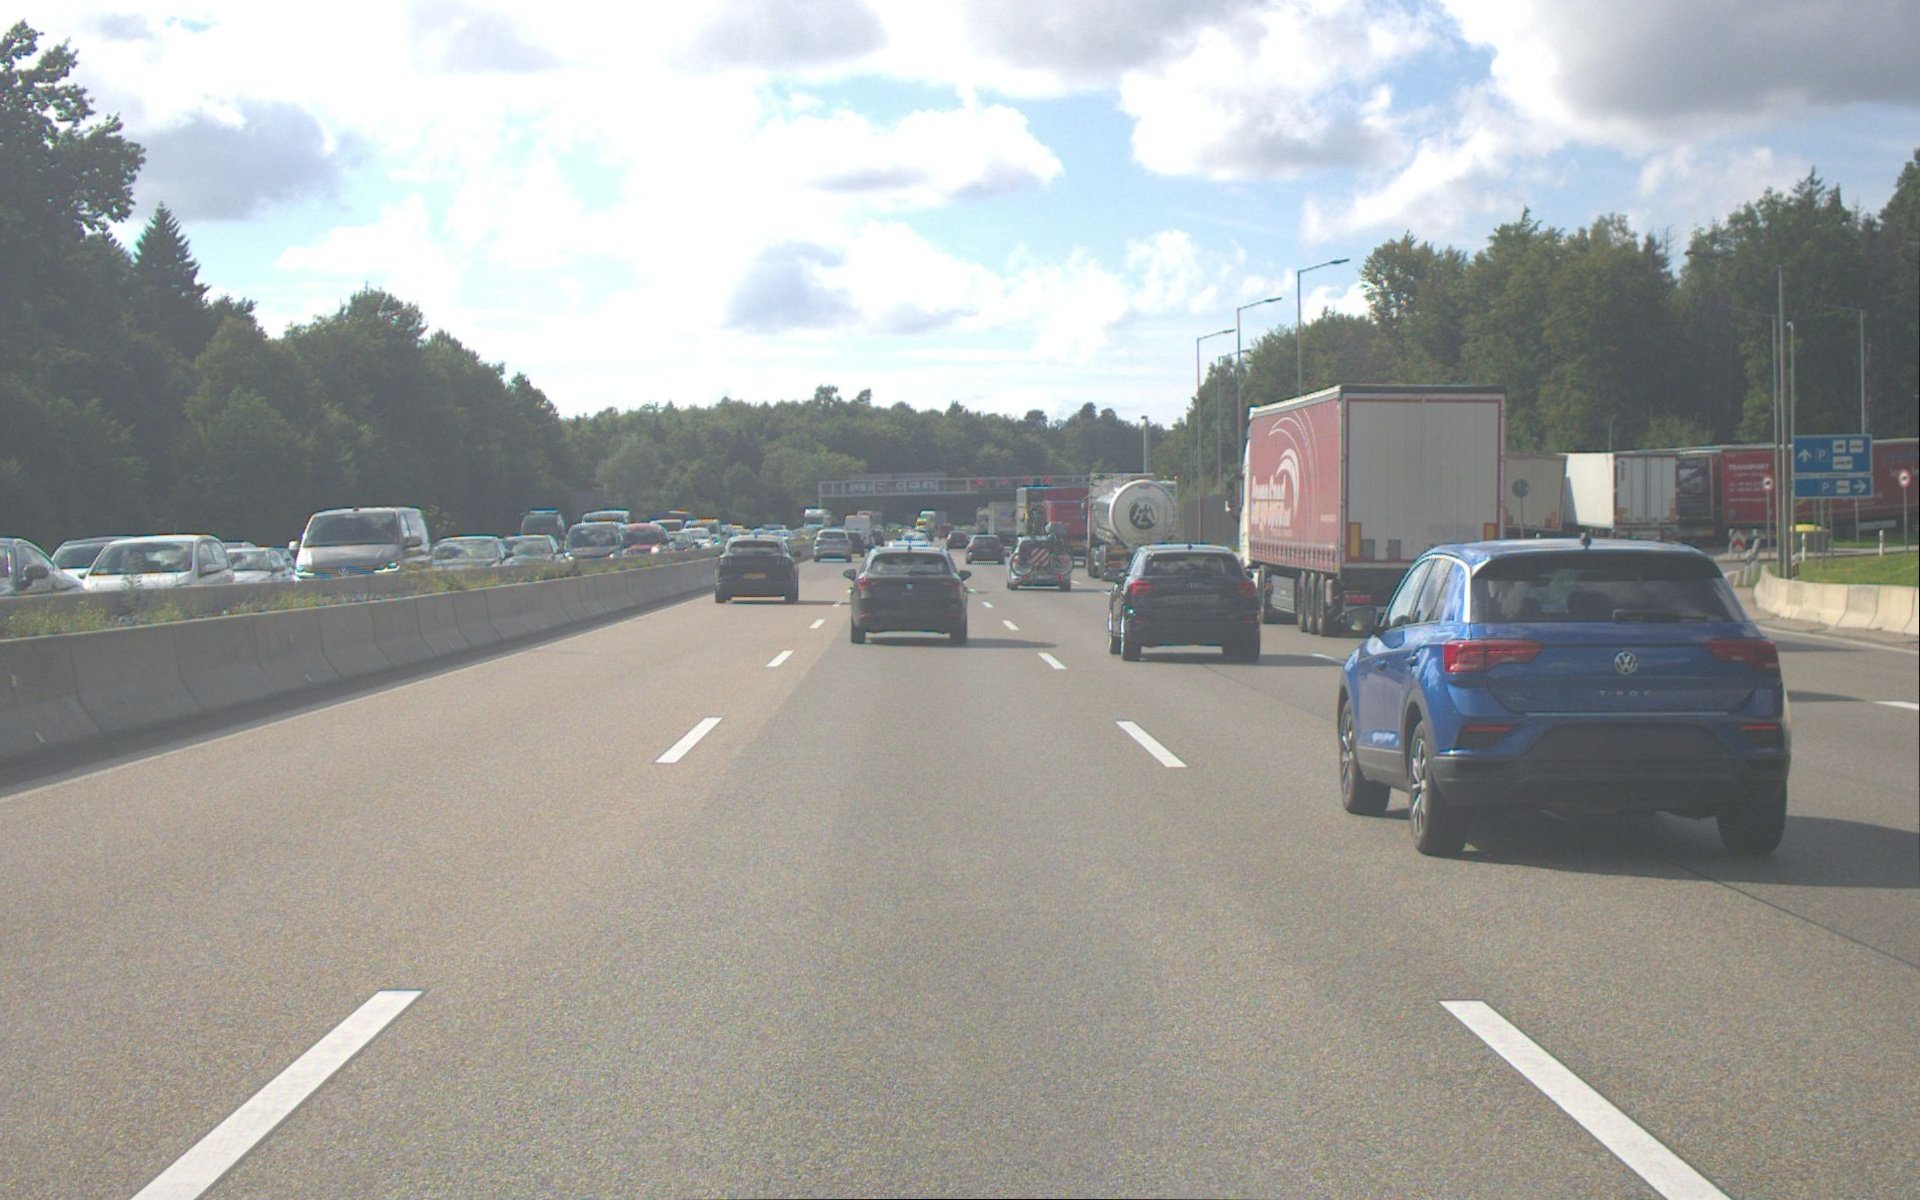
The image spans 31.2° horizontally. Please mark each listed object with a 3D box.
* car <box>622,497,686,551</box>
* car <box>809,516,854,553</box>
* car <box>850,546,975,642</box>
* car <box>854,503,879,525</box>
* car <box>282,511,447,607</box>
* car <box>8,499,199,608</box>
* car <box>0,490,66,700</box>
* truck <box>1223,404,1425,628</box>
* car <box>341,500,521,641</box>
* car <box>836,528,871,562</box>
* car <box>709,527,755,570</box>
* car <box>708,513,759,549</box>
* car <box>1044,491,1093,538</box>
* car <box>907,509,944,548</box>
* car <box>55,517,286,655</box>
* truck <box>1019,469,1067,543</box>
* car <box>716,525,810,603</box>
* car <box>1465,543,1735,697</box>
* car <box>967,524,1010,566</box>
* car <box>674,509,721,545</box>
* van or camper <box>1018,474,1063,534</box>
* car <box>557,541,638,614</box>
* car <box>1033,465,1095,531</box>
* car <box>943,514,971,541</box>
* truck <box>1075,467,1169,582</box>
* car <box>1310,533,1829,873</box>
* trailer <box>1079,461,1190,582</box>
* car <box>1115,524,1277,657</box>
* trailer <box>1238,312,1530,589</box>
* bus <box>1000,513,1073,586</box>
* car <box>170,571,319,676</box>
[{"bbox_3d":[-10.263,-2.548,115.576,1.875,1.756,5.295,1,1,-2],"label":"car"},{"bbox_3d":[-6.541,-3.351,175.883,2.154,1.770,4.000,1,0,0],"label":"car"},{"bbox_3d":[-0.756,-0.102,52.103,1.734,1.360,4.000,1,0,-3],"label":"car"},{"bbox_3d":[-6.637,-6.129,243.962,1.623,1.465,3.815,2,1,0],"label":"car"},{"bbox_3d":[-10.303,-0.740,59.793,1.993,1.567,4.815,1,1,0],"label":"car"},{"bbox_3d":[-14.362,-0.800,57.899,1.993,1.727,4.762,1,1,0],"label":"car"},{"bbox_3d":[-10.107,-0.061,32.555,1.905,2.007,5.091,1,1,0],"label":"car"},{"bbox_3d":[6.891,-1.518,65.948,3.080,4.050,6.070,1,0,-1],"label":"truck"},{"bbox_3d":[-7.554,-0.460,49.401,1.993,1.914,4.000,1,2,-1],"label":"car"},{"bbox_3d":[-6.324,-3.286,204.896,1.993,2.007,4.000,1,1,-1],"label":"car"},{"bbox_3d":[-11.406,-2.569,172.210,1.993,2.007,4.677,1,0,0],"label":"car"},{"bbox_3d":[-10.707,-3.278,163.008,1.993,1.567,5.329,2,1,0],"label":"car"},{"bbox_3d":[4.927,-3.888,156.563,1.993,2.007,4.000,1,0,-1],"label":"car"},{"bbox_3d":[-1.932,-3.921,190.024,1.993,2.007,4.000,-1,0,-1],"label":"car"},{"bbox_3d":[-10.526,-0.223,46.209,1.993,1.729,5.091,1,1,-1],"label":"car"},{"bbox_3d":[4.398,-4.968,184.675,2.358,3.560,11.266,1,0,0],"label":"truck"},{"bbox_3d":[-4.645,-0.860,81.366,1.993,1.770,4.000,1,1,0],"label":"car"},{"bbox_3d":[6.648,0.187,36.162,1.715,1.506,4.302,0,0,-5],"label":"car"},{"bbox_3d":[1.396,-2.687,169.578,1.993,2.007,4.000,1,0,-1],"label":"car"},{"bbox_3d":[-11.784,-3.283,154.522,1.765,1.567,4.357,1,1,0],"label":"car"},{"bbox_3d":[4.462,-5.332,191.628,2.351,3.133,5.710,1,0,0],"label":"van or camper"},{"bbox_3d":[-10.450,-0.631,99.246,1.816,2.007,4.452,1,0,0],"label":"car"},{"bbox_3d":[5.016,-4.953,167.088,2.866,2.981,5.149,1,0,0],"label":"car"},{"bbox_3d":[-0.235,-5.525,261.506,1.993,2.007,4.000,1,1,-1],"label":"car"},{"bbox_3d":[5.954,-2.738,127.535,3.045,4.146,7.127,0,0,-1],"label":"truck"},{"bbox_3d":[3.045,0.473,18.167,1.924,1.536,4.645,1,0,0],"label":"car"},{"bbox_3d":[6.063,-2.661,121.445,3.036,4.002,12.246,0,0,-1],"label":"trailer"},{"bbox_3d":[3.072,-0.127,45.373,1.799,1.639,4.000,1,0,0],"label":"car"},{"bbox_3d":[7.013,-2.295,59.216,3.038,4.021,13.890,1,0,-1],"label":"trailer"},{"bbox_3d":[2.221,-1.461,100.451,1.993,2.007,4.000,1,0,0],"label":"bus"},{"bbox_3d":[-14.216,0.439,68.573,1.993,2.007,4.459,1,0,0],"label":"car"}]
